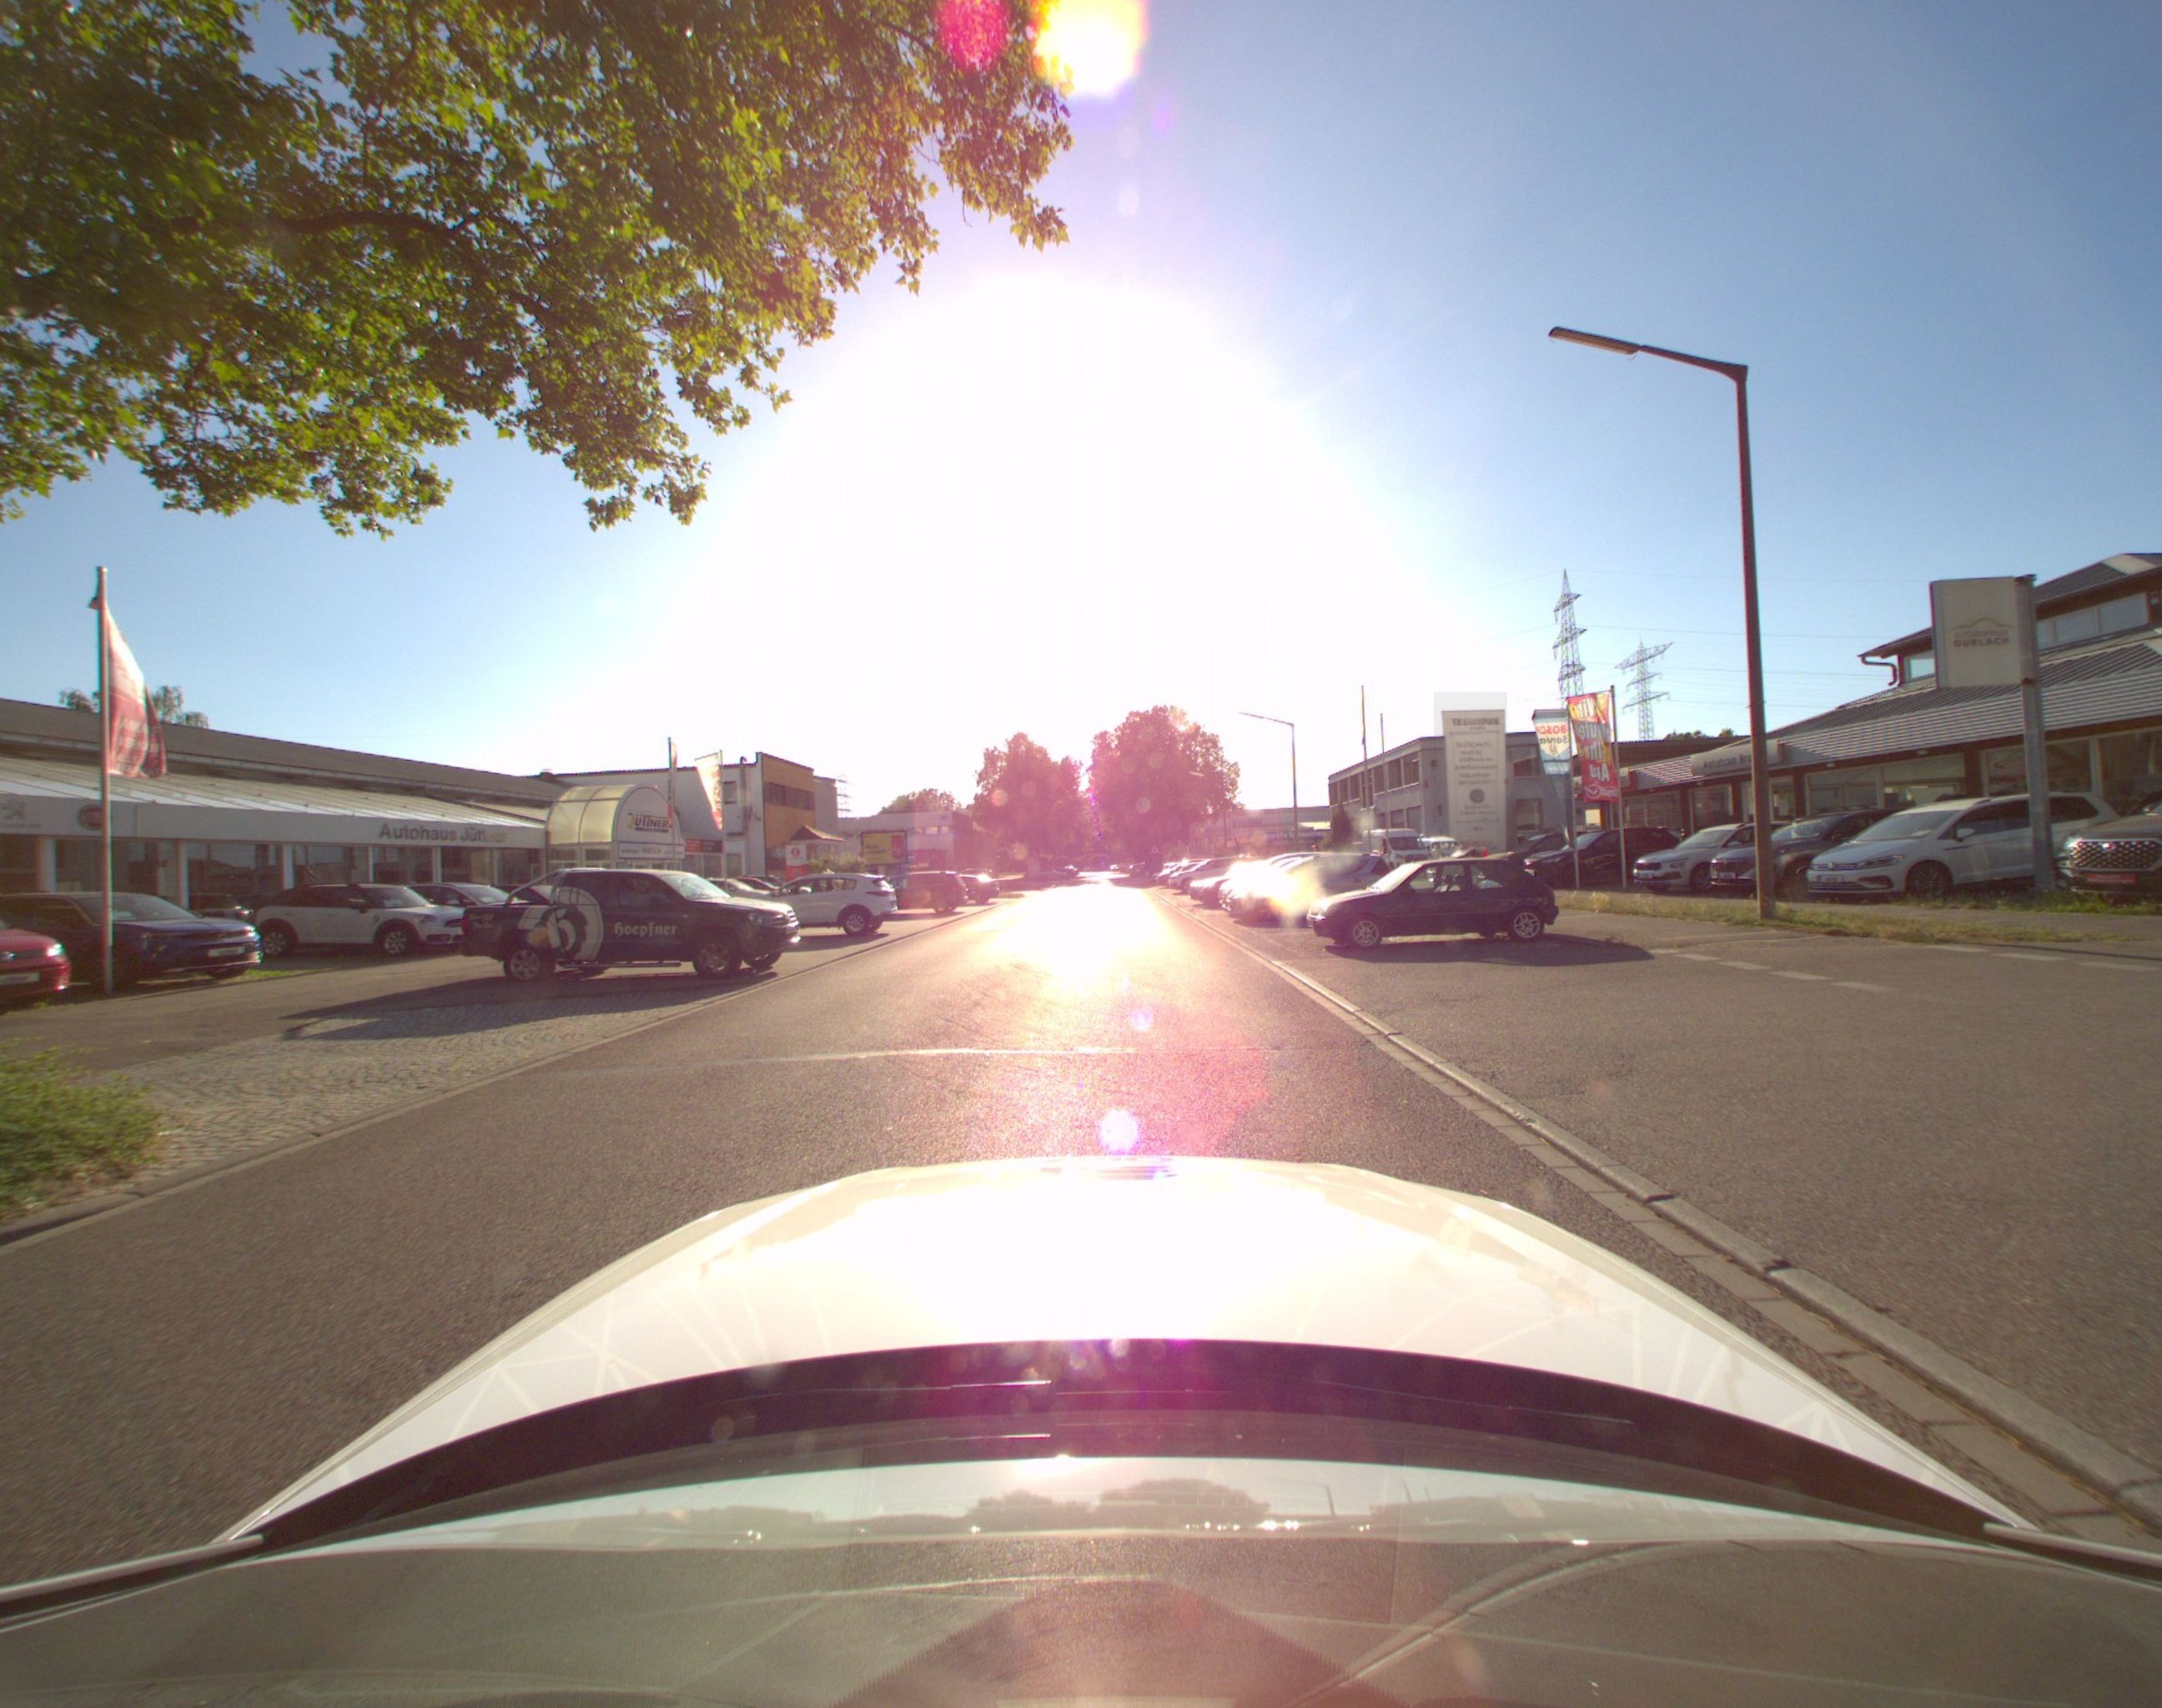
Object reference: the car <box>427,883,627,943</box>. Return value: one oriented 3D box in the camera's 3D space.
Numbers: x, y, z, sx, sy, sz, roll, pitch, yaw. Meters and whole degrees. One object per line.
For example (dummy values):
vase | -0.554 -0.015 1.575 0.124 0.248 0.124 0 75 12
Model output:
car | -15.799 1.660 23.397 4.449 1.553 1.836 -1 -2 0

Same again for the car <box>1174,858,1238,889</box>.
car | 8.384 1.317 54.843 3.971 1.652 1.802 -6 -2 2

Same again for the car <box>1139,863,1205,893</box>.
car | 5.814 1.526 51.811 3.963 1.613 2.005 -4 -2 9

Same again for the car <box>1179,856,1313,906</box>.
car | 5.943 0.981 29.732 4.421 1.436 2.136 -4 -2 1

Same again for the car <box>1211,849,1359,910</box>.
car | 6.274 0.791 25.345 4.098 1.740 1.882 -1 -2 -2

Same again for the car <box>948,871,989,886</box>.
car | -13.306 2.906 96.379 4.636 1.741 1.990 -1 -2 -14

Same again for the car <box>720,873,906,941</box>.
car | -7.135 1.391 22.090 4.290 1.656 2.201 -1 -2 -1

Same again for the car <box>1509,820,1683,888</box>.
car | 15.671 0.034 24.963 3.972 1.697 2.001 -4 -2 2

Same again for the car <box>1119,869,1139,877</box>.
car | 9.788 3.812 165.507 3.972 1.416 1.827 -3 -2 1

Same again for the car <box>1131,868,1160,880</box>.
car | 9.326 2.907 118.197 3.972 1.416 1.827 -3 -2 1

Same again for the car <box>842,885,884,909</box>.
car | -17.425 3.435 65.327 1.986 1.577 4.343 -1 1 2

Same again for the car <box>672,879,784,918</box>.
car | -15.353 1.921 35.595 3.972 1.556 2.001 -1 -2 2

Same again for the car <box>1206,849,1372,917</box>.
car | 5.824 0.826 23.165 4.098 1.618 2.057 -3 -2 -2

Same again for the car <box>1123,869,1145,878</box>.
car | 9.948 3.684 152.793 3.972 1.416 1.827 -3 -2 1

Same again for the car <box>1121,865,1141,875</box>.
car | 10.417 3.358 168.962 3.972 1.777 1.827 -3 -2 1

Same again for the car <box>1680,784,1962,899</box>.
car | 15.473 -0.231 17.250 3.786 1.898 2.203 -6 -1 1

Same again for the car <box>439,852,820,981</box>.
car | -7.444 1.011 13.873 5.240 1.899 2.202 -1 -2 1

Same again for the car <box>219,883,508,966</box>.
car | -15.970 1.542 18.337 4.703 1.643 2.000 -1 -2 0

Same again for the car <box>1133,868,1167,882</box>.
car | 8.209 2.512 97.334 3.972 1.416 1.827 -3 -2 1

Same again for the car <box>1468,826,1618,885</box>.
car | 15.989 0.080 28.353 3.972 1.660 2.001 -4 -2 2

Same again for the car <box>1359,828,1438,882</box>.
car | 16.818 0.122 43.532 1.986 2.625 6.139 -1 -2 2

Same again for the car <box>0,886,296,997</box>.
car | -16.404 1.407 13.544 4.698 1.634 2.000 -1 -2 0

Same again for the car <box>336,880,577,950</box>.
car | -15.869 1.528 20.879 4.646 1.592 1.928 -1 -2 0

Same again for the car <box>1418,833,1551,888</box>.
car | 15.707 0.288 31.882 4.128 1.771 2.001 -4 -2 2

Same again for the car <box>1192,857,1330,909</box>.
car | 6.026 0.954 27.537 4.233 1.605 1.743 -1 -2 -4

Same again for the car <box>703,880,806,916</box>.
car | -15.207 2.026 38.081 3.972 1.556 2.001 -1 -2 2

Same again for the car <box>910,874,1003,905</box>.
car | -6.229 1.777 41.110 4.300 1.460 2.201 -1 -2 -1

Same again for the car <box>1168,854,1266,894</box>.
car | 6.920 1.027 41.800 4.542 1.597 2.201 -5 -2 -1

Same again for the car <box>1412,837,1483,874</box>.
car | 19.288 0.108 43.050 1.986 1.799 4.001 -1 -2 2

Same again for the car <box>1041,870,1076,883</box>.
car | -2.826 2.874 105.004 4.400 1.517 2.000 -1 -2 0

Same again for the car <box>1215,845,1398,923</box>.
car | 5.541 0.736 20.376 3.977 1.588 1.866 -4 -2 -2

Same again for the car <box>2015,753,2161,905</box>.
car | 15.742 -0.351 10.619 4.479 1.899 2.202 -1 -2 1

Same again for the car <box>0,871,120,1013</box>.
car | -16.223 1.186 10.706 4.730 1.820 2.000 -1 -2 0

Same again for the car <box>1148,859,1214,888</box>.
car | 7.318 1.434 59.805 4.512 1.673 1.752 -5 -2 -2

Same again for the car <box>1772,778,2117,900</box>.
car | 15.490 -0.275 14.827 3.919 1.898 2.203 -2 1 1

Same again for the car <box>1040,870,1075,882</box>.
car | -2.971 2.770 102.698 4.406 1.403 1.997 -1 -2 -4

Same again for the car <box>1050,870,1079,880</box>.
car | -2.553 3.238 125.851 4.397 1.517 2.002 -1 -2 3

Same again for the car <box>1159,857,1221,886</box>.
car | 7.595 1.206 57.157 3.975 1.652 1.742 -5 -2 -1

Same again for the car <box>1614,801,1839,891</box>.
car | 15.533 -0.144 19.766 3.888 1.899 1.787 -2 -4 1

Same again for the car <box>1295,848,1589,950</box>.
car | 5.708 0.714 13.304 3.969 1.296 1.786 -4 -2 4

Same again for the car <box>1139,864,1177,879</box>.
car | 8.514 1.899 89.995 3.972 1.416 2.001 -3 -2 1

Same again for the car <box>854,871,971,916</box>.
car | -6.722 1.558 32.816 4.218 1.656 2.201 -1 -2 -1

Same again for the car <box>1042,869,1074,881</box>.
car | -3.267 2.987 115.289 4.397 1.517 2.002 -1 -2 3

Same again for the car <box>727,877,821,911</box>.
car | -15.241 1.986 40.541 3.896 1.556 1.888 -1 -2 2
